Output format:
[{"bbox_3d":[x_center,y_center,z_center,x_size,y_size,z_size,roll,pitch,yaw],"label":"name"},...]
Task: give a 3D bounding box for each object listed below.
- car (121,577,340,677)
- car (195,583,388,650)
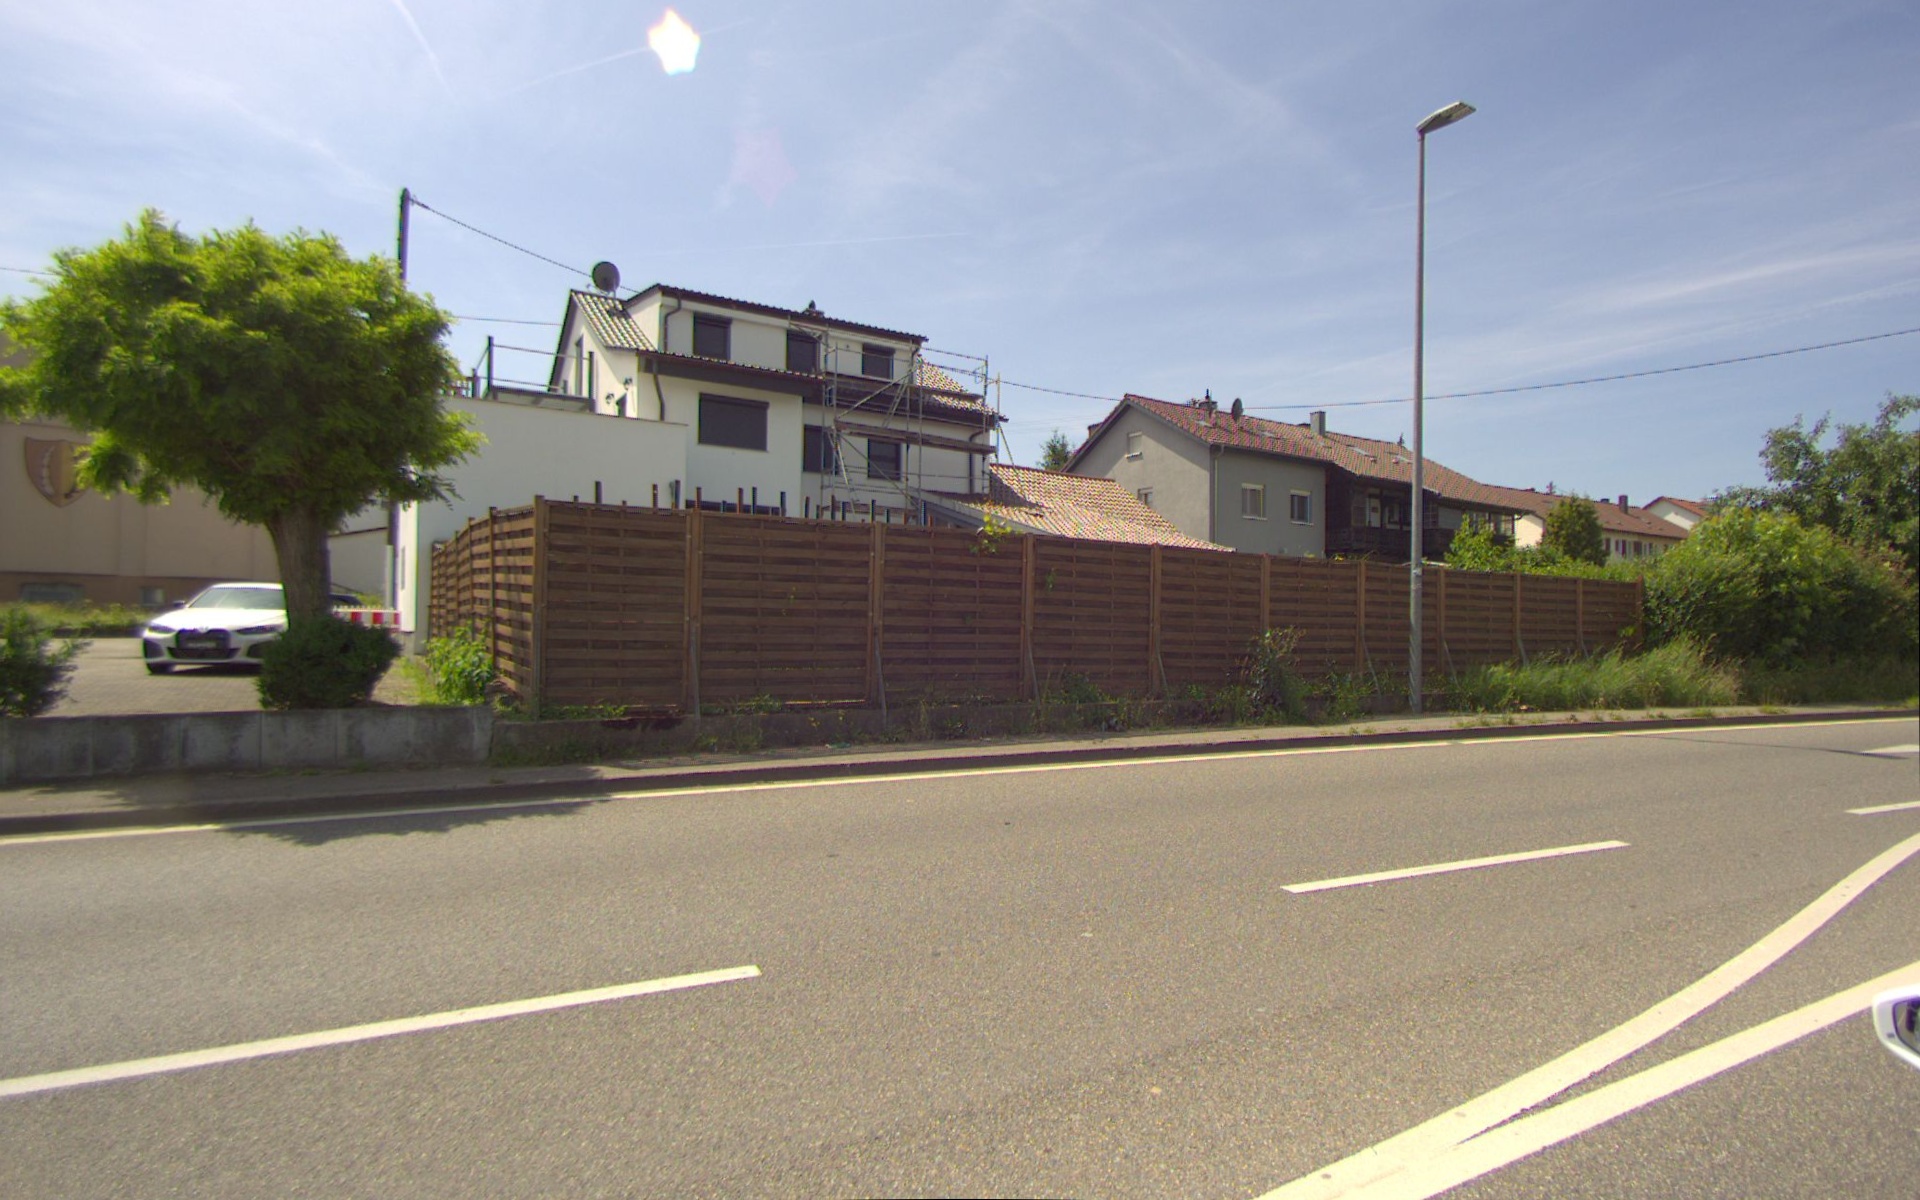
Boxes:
[{"bbox_3d":[-12.129,0.443,17.035,1.854,1.459,3.983,2,-1,-19],"label":"car"},{"bbox_3d":[-17.092,0.384,25.946,1.904,1.538,4.002,1,0,9],"label":"car"}]
